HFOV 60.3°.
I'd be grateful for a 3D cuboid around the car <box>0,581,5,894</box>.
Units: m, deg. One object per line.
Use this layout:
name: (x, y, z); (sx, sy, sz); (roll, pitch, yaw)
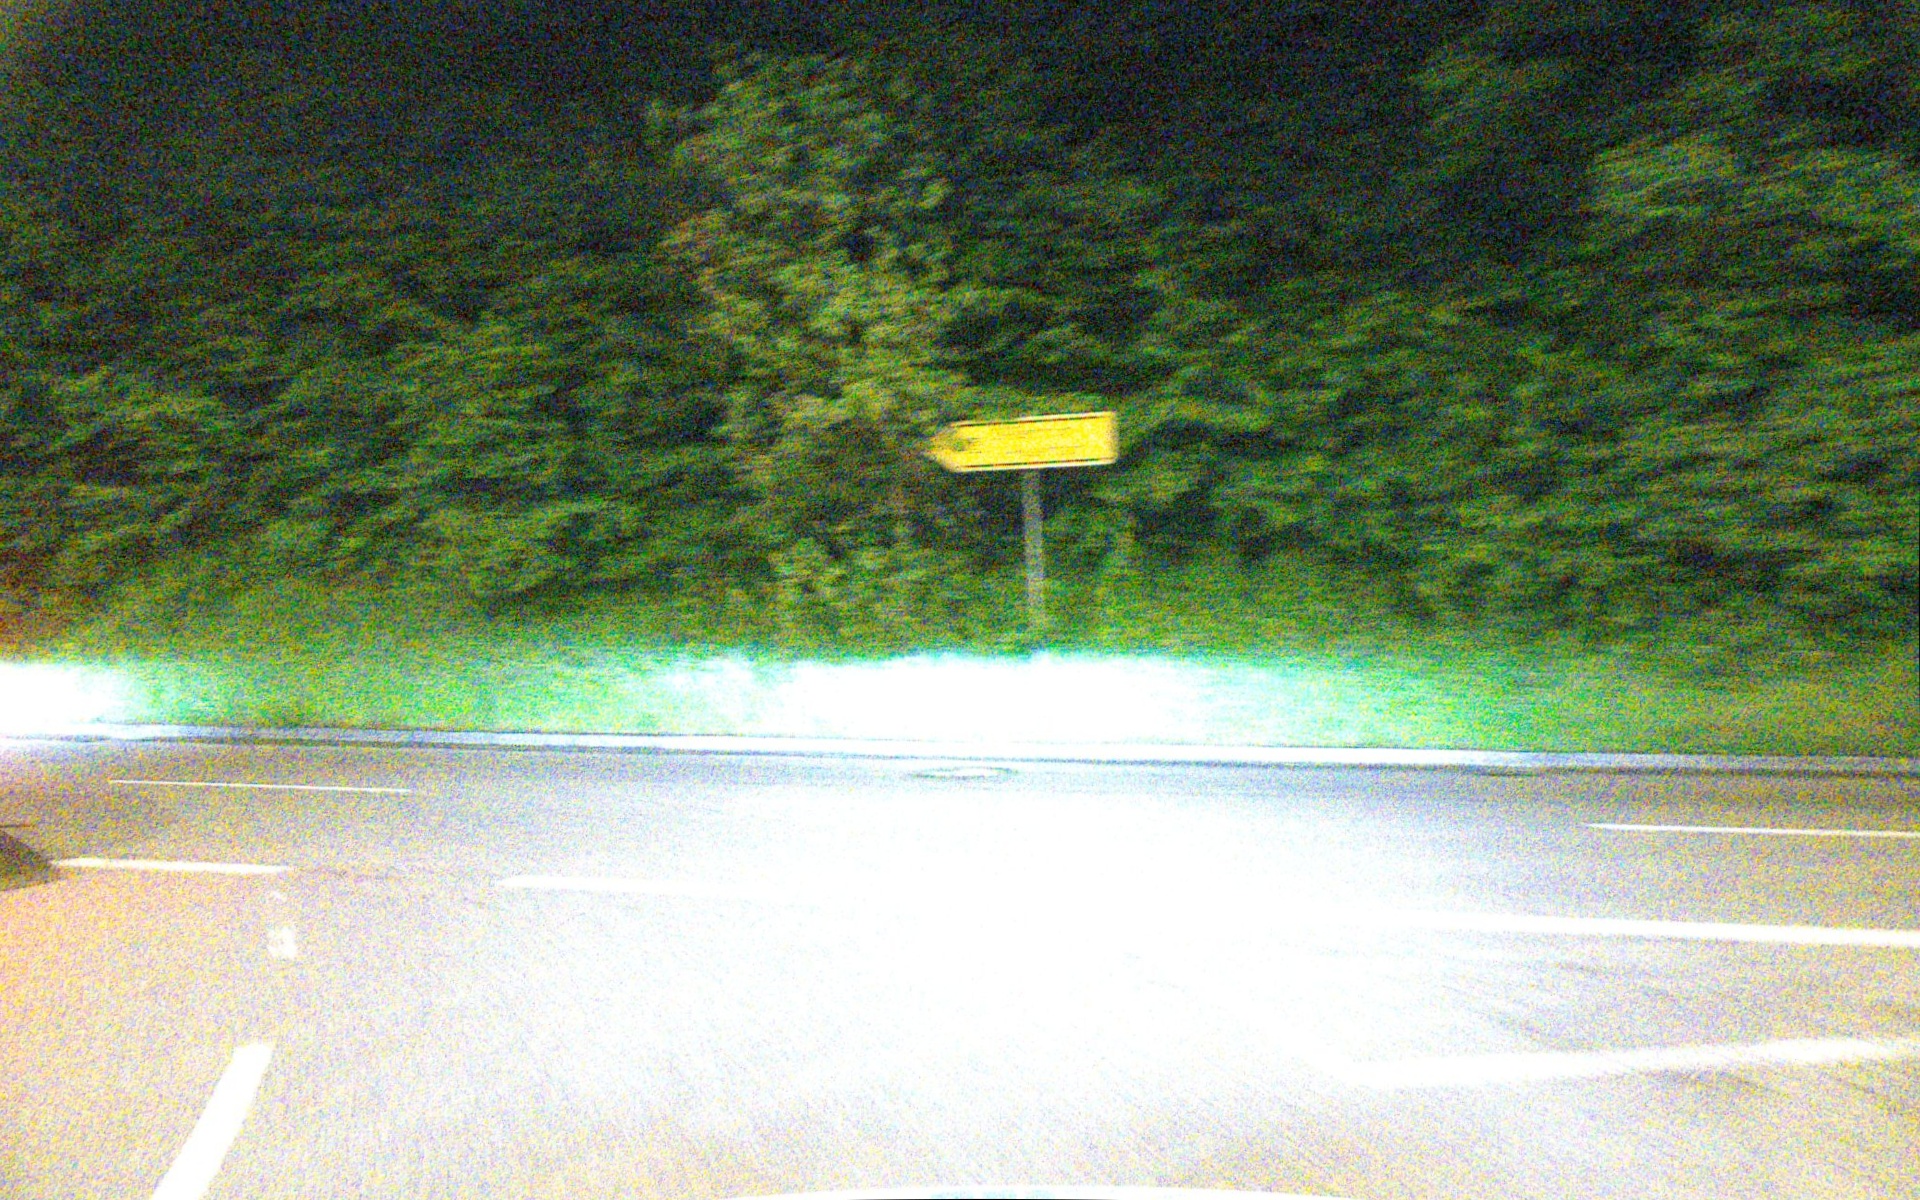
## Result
car: (-6.827, 0.732, 9.541); (1.838, 1.610, 3.954); (-1, 0, -37)
